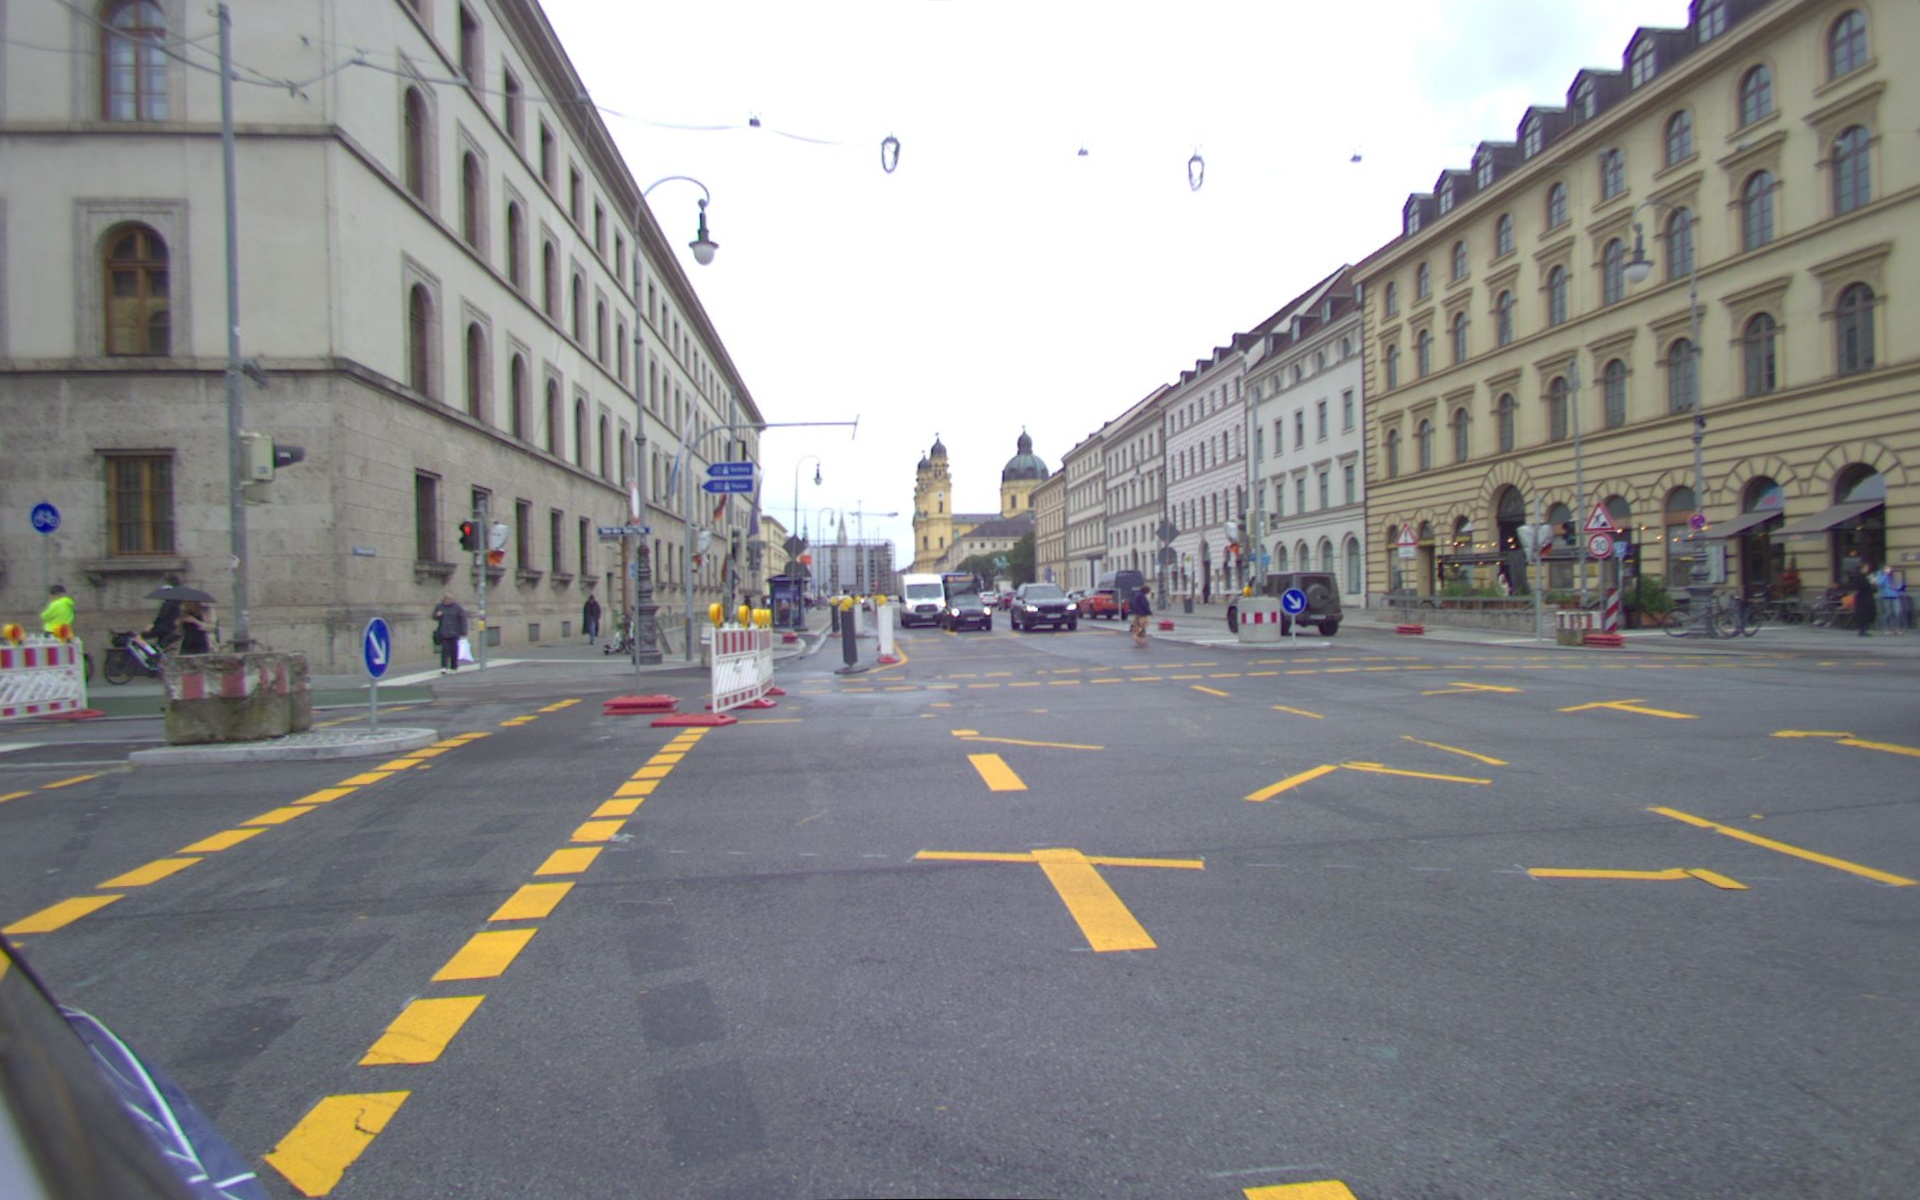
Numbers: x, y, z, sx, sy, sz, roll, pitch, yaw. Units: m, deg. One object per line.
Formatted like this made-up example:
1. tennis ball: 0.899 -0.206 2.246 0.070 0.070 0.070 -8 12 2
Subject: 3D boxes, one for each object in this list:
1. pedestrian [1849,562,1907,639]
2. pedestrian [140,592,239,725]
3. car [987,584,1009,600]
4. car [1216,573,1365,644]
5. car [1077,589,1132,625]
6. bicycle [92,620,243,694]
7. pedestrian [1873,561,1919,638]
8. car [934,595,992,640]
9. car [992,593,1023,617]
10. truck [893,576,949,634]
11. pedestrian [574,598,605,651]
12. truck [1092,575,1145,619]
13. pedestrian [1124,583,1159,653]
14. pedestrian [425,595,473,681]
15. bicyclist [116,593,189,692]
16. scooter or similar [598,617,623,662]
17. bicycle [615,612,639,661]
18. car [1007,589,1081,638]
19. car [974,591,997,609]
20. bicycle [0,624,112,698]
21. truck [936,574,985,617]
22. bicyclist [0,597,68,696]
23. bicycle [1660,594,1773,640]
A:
1. pedestrian: 21.686 0.000 23.923 0.726 1.785 0.738 -2 2 -16
2. pedestrian: -10.881 0.795 14.322 0.728 1.785 0.848 -2 1 -6
3. car: 4.208 -0.856 111.731 1.795 1.732 4.005 -2 1 -6
4. car: 10.306 0.249 31.969 2.207 2.029 4.464 -2 0 -18
5. car: 7.360 0.325 51.942 1.795 1.732 4.005 -2 1 -6
6. bicycle: -14.859 1.052 19.008 2.167 1.252 0.790 -2 2 -1
7. pedestrian: 22.417 -0.024 24.085 0.726 1.785 0.738 -2 2 -16
8. car: 0.062 0.653 40.709 1.773 1.605 4.007 -2 2 -7
9. car: 3.626 0.367 78.285 1.840 1.812 3.757 -1 0 -5
10. truck: -1.917 0.186 47.889 2.084 2.499 5.869 -2 1 -7
11. pedestrian: -11.918 0.787 32.588 0.728 1.667 0.727 1 0 -4
12. truck: 10.144 -0.203 65.170 2.188 2.683 4.789 -1 0 -6
13. pedestrian: 4.741 0.459 26.505 0.725 1.785 0.739 -2 1 -1
14. pedestrian: -10.110 0.740 20.055 0.726 1.667 0.729 1 1 -18
15. bicyclist: -15.142 0.772 18.995 0.679 1.789 0.801 -2 1 -2
16. scooter or similar: -9.817 1.086 28.465 0.375 1.153 1.994 -2 2 -11
17. bicycle: -9.408 1.014 28.646 0.375 1.252 1.994 -2 2 -11
18. car: 3.073 0.453 37.808 1.969 1.696 4.005 -2 1 -6
19. car: 2.539 -0.049 102.026 1.796 1.732 4.004 -2 1 -4
20. bicycle: -17.249 1.120 18.660 2.411 1.252 0.790 -2 2 -5
21. truck: -0.039 -0.405 76.593 2.946 3.035 7.153 -2 2 -5
22. bicyclist: -17.169 0.843 18.660 0.678 1.761 0.802 -2 1 -5
23. bicycle: 18.947 0.412 25.396 0.590 1.107 2.206 -1 0 -30
